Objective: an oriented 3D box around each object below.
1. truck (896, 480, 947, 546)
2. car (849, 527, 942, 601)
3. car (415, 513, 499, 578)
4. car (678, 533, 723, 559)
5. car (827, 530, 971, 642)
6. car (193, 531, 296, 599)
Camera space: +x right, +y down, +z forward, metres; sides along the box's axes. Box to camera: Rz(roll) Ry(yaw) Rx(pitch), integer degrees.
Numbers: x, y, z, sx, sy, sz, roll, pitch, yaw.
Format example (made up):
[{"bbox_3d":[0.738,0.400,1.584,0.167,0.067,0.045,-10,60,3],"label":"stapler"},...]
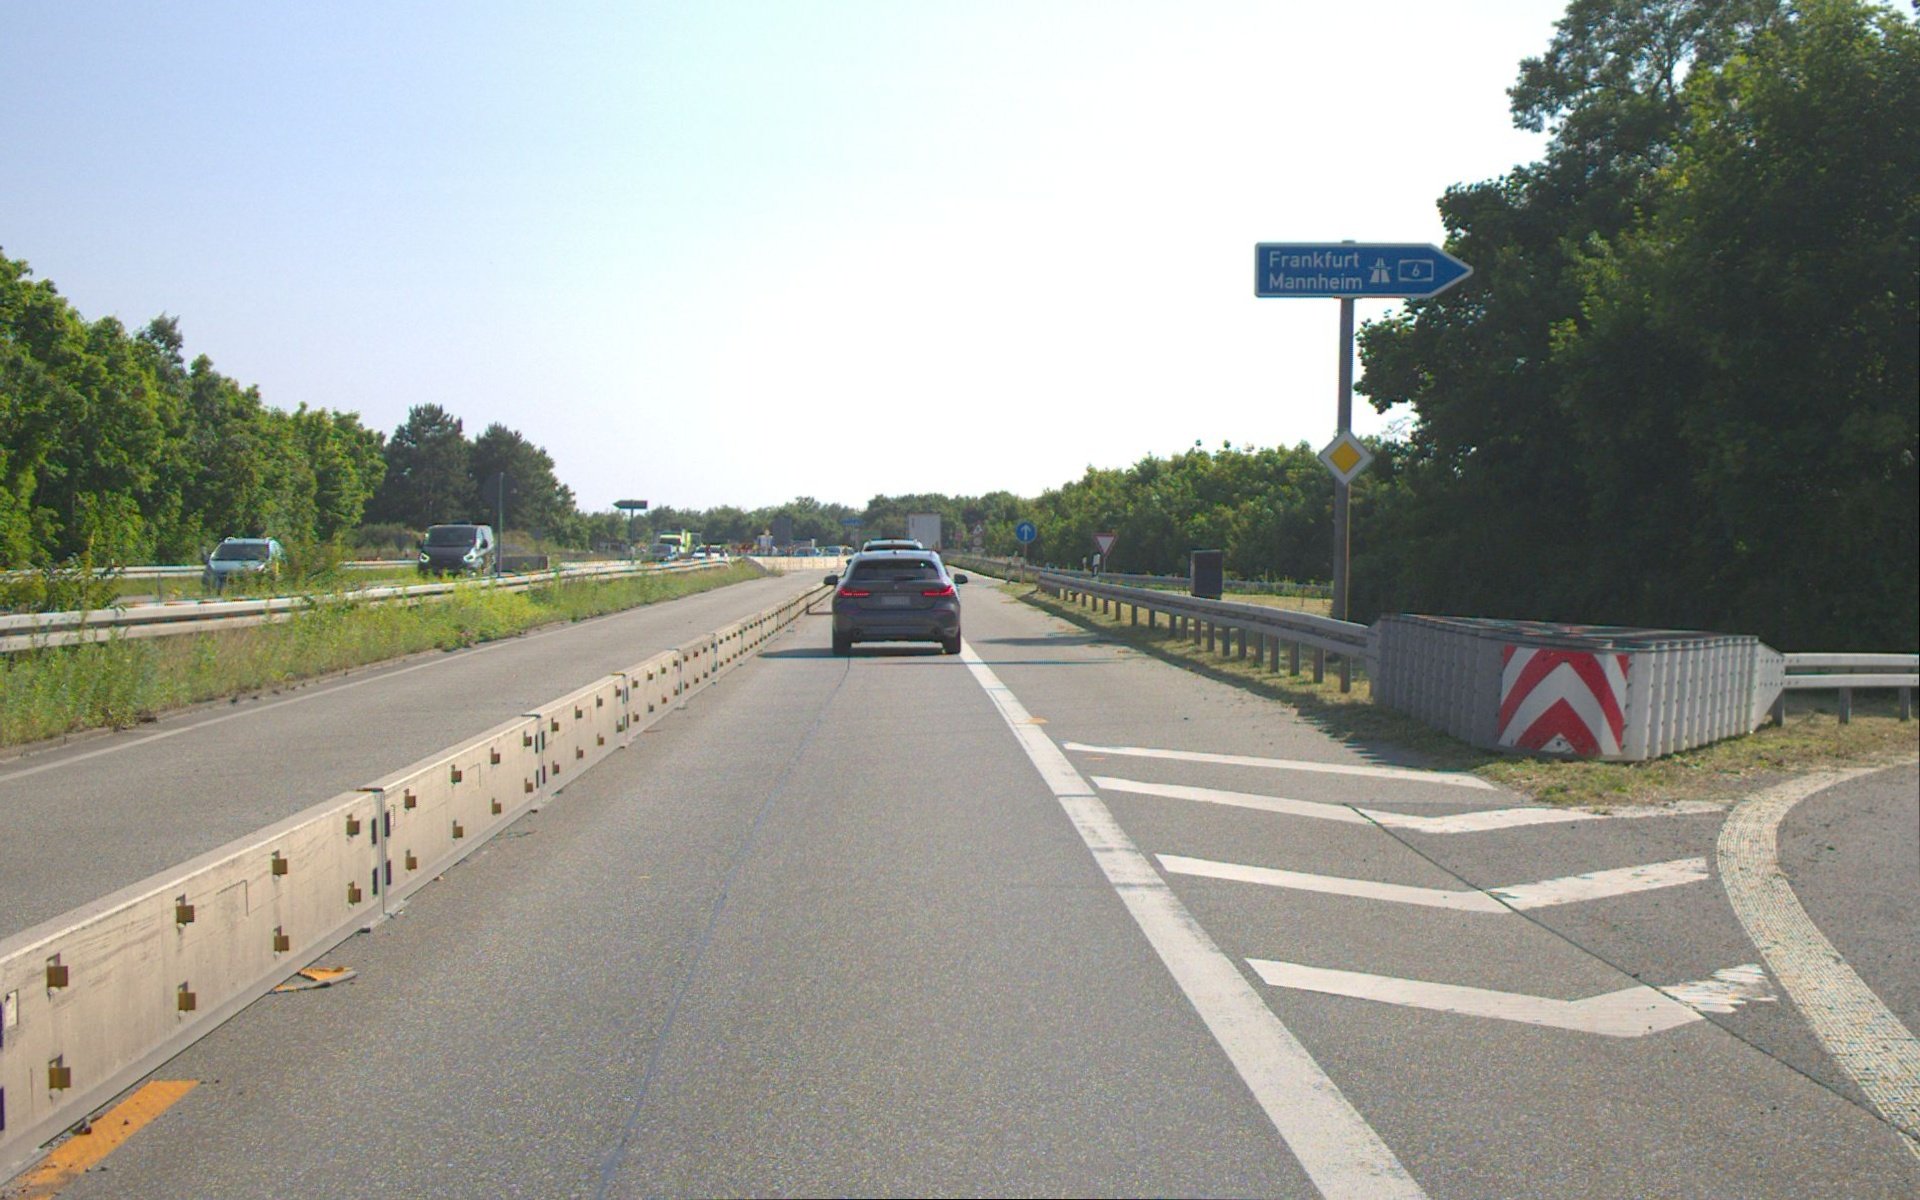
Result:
[{"bbox_3d":[-2.968,-6.665,264.481,3.761,4.894,14.138,1,1,-1],"label":"truck"},{"bbox_3d":[-1.413,-0.809,75.984,1.993,1.561,4.000,1,1,-1],"label":"car"},{"bbox_3d":[-16.010,-1.769,109.569,1.993,2.027,5.169,0,1,-1],"label":"car"},{"bbox_3d":[-15.335,-3.209,203.118,1.760,1.465,4.793,1,1,6],"label":"car"},{"bbox_3d":[-0.907,-0.232,48.568,1.920,1.488,4.001,1,1,-2],"label":"car"},{"bbox_3d":[-16.547,-0.831,79.631,1.646,1.526,3.819,0,1,-1],"label":"car"}]
